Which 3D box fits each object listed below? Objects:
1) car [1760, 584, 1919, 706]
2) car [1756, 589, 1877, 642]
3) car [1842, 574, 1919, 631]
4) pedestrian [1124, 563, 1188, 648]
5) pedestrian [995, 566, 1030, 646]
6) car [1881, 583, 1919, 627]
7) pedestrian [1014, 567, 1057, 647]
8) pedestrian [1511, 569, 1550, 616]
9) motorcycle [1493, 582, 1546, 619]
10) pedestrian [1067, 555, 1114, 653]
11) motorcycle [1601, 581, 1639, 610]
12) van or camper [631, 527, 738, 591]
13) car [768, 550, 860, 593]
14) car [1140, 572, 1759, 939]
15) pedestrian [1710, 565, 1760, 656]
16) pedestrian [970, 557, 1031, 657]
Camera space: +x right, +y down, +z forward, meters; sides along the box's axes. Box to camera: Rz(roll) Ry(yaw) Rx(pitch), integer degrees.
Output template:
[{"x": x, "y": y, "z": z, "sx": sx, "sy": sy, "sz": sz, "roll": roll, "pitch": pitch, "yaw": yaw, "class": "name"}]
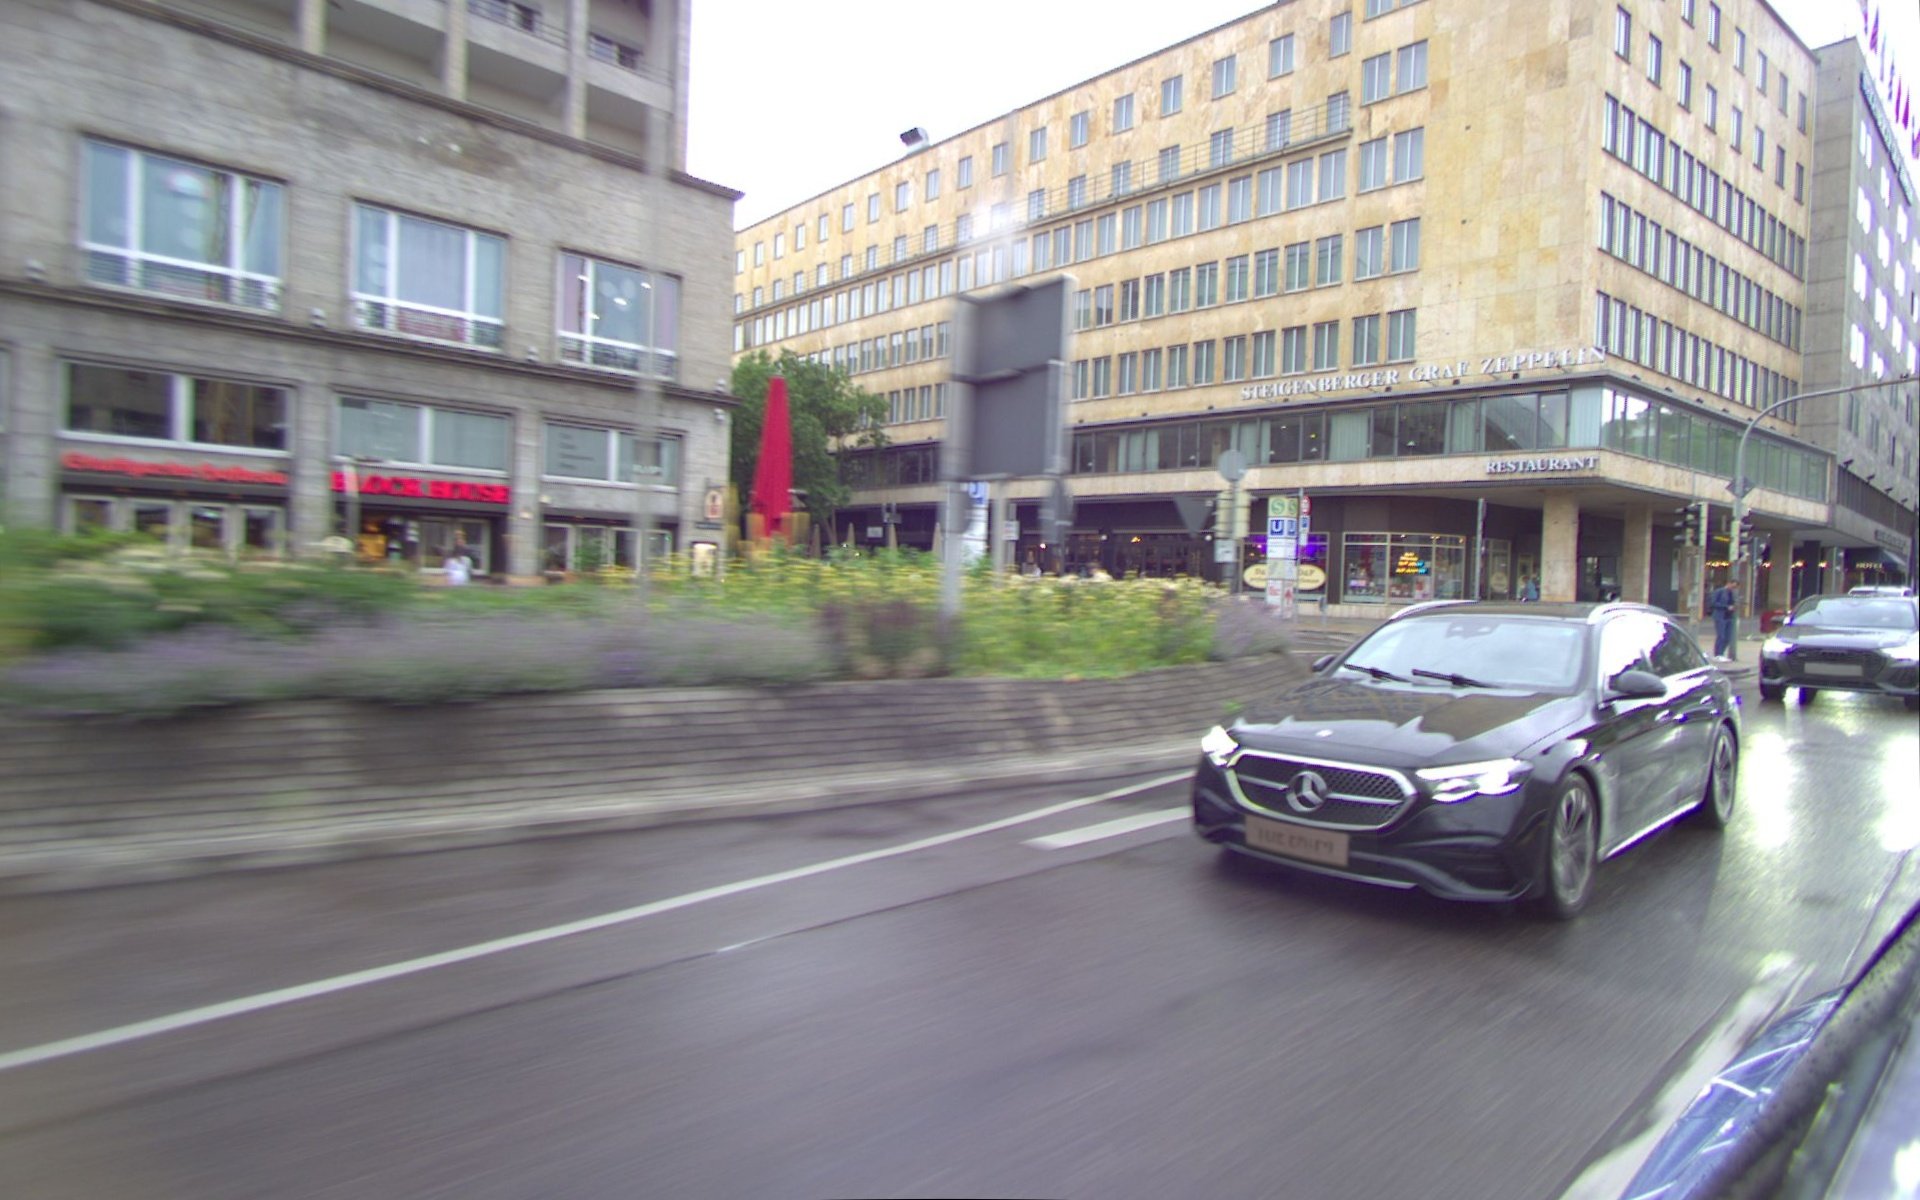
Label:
[{"x": 13.495, "y": 0.593, "z": 14.960, "sx": 4.091, "sy": 1.527, "sz": 1.876, "roll": 1, "pitch": 2, "yaw": -41, "class": "car"}, {"x": 26.387, "y": 0.457, "z": 31.129, "sx": 4.404, "sy": 1.431, "sz": 2.193, "roll": 1, "pitch": 2, "yaw": -41, "class": "car"}, {"x": 34.106, "y": 0.093, "z": 37.093, "sx": 4.909, "sy": 1.908, "sz": 1.997, "roll": 1, "pitch": 2, "yaw": -41, "class": "car"}, {"x": 4.221, "y": 0.106, "z": 21.823, "sx": 0.968, "sy": 1.784, "sz": 0.894, "roll": 1, "pitch": 1, "yaw": -40, "class": "pedestrian"}, {"x": 1.051, "y": 0.115, "z": 20.314, "sx": 0.504, "sy": 1.565, "sz": 0.425, "roll": 1, "pitch": 1, "yaw": -38, "class": "pedestrian"}, {"x": 39.132, "y": 0.207, "z": 41.083, "sx": 5.045, "sy": 1.674, "sz": 1.997, "roll": 1, "pitch": 2, "yaw": -41, "class": "car"}, {"x": 1.486, "y": 0.126, "z": 19.959, "sx": 0.581, "sy": 1.548, "sz": 0.555, "roll": 1, "pitch": 1, "yaw": -40, "class": "pedestrian"}, {"x": 23.372, "y": -0.326, "z": 41.444, "sx": 1.089, "sy": 1.870, "sz": 1.001, "roll": 0, "pitch": 2, "yaw": -39, "class": "pedestrian"}, {"x": 23.103, "y": 0.032, "z": 41.750, "sx": 2.800, "sy": 1.471, "sz": 0.964, "roll": 1, "pitch": 1, "yaw": -41, "class": "motorcycle"}, {"x": 2.469, "y": 0.064, "z": 19.134, "sx": 0.669, "sy": 1.812, "sz": 0.536, "roll": 1, "pitch": 1, "yaw": -38, "class": "pedestrian"}, {"x": 29.285, "y": -0.198, "z": 44.890, "sx": 2.492, "sy": 1.246, "sz": 0.730, "roll": 1, "pitch": 1, "yaw": -41, "class": "motorcycle"}, {"x": -12.597, "y": -1.868, "z": 45.948, "sx": 2.451, "sy": 2.673, "sz": 6.007, "roll": 1, "pitch": 2, "yaw": -39, "class": "van or camper"}, {"x": -7.245, "y": -1.412, "z": 49.795, "sx": 1.965, "sy": 1.950, "sz": 5.158, "roll": 2, "pitch": 1, "yaw": -41, "class": "car"}, {"x": 3.329, "y": 0.636, "z": 6.361, "sx": 4.618, "sy": 1.482, "sz": 1.822, "roll": 1, "pitch": 1, "yaw": -41, "class": "car"}, {"x": 16.896, "y": 0.226, "z": 22.074, "sx": 0.779, "sy": 1.943, "sz": 0.674, "roll": 1, "pitch": 1, "yaw": -41, "class": "pedestrian"}, {"x": 0.742, "y": 0.112, "z": 18.527, "sx": 0.823, "sy": 1.773, "sz": 0.698, "roll": 1, "pitch": 1, "yaw": -43, "class": "pedestrian"}]
